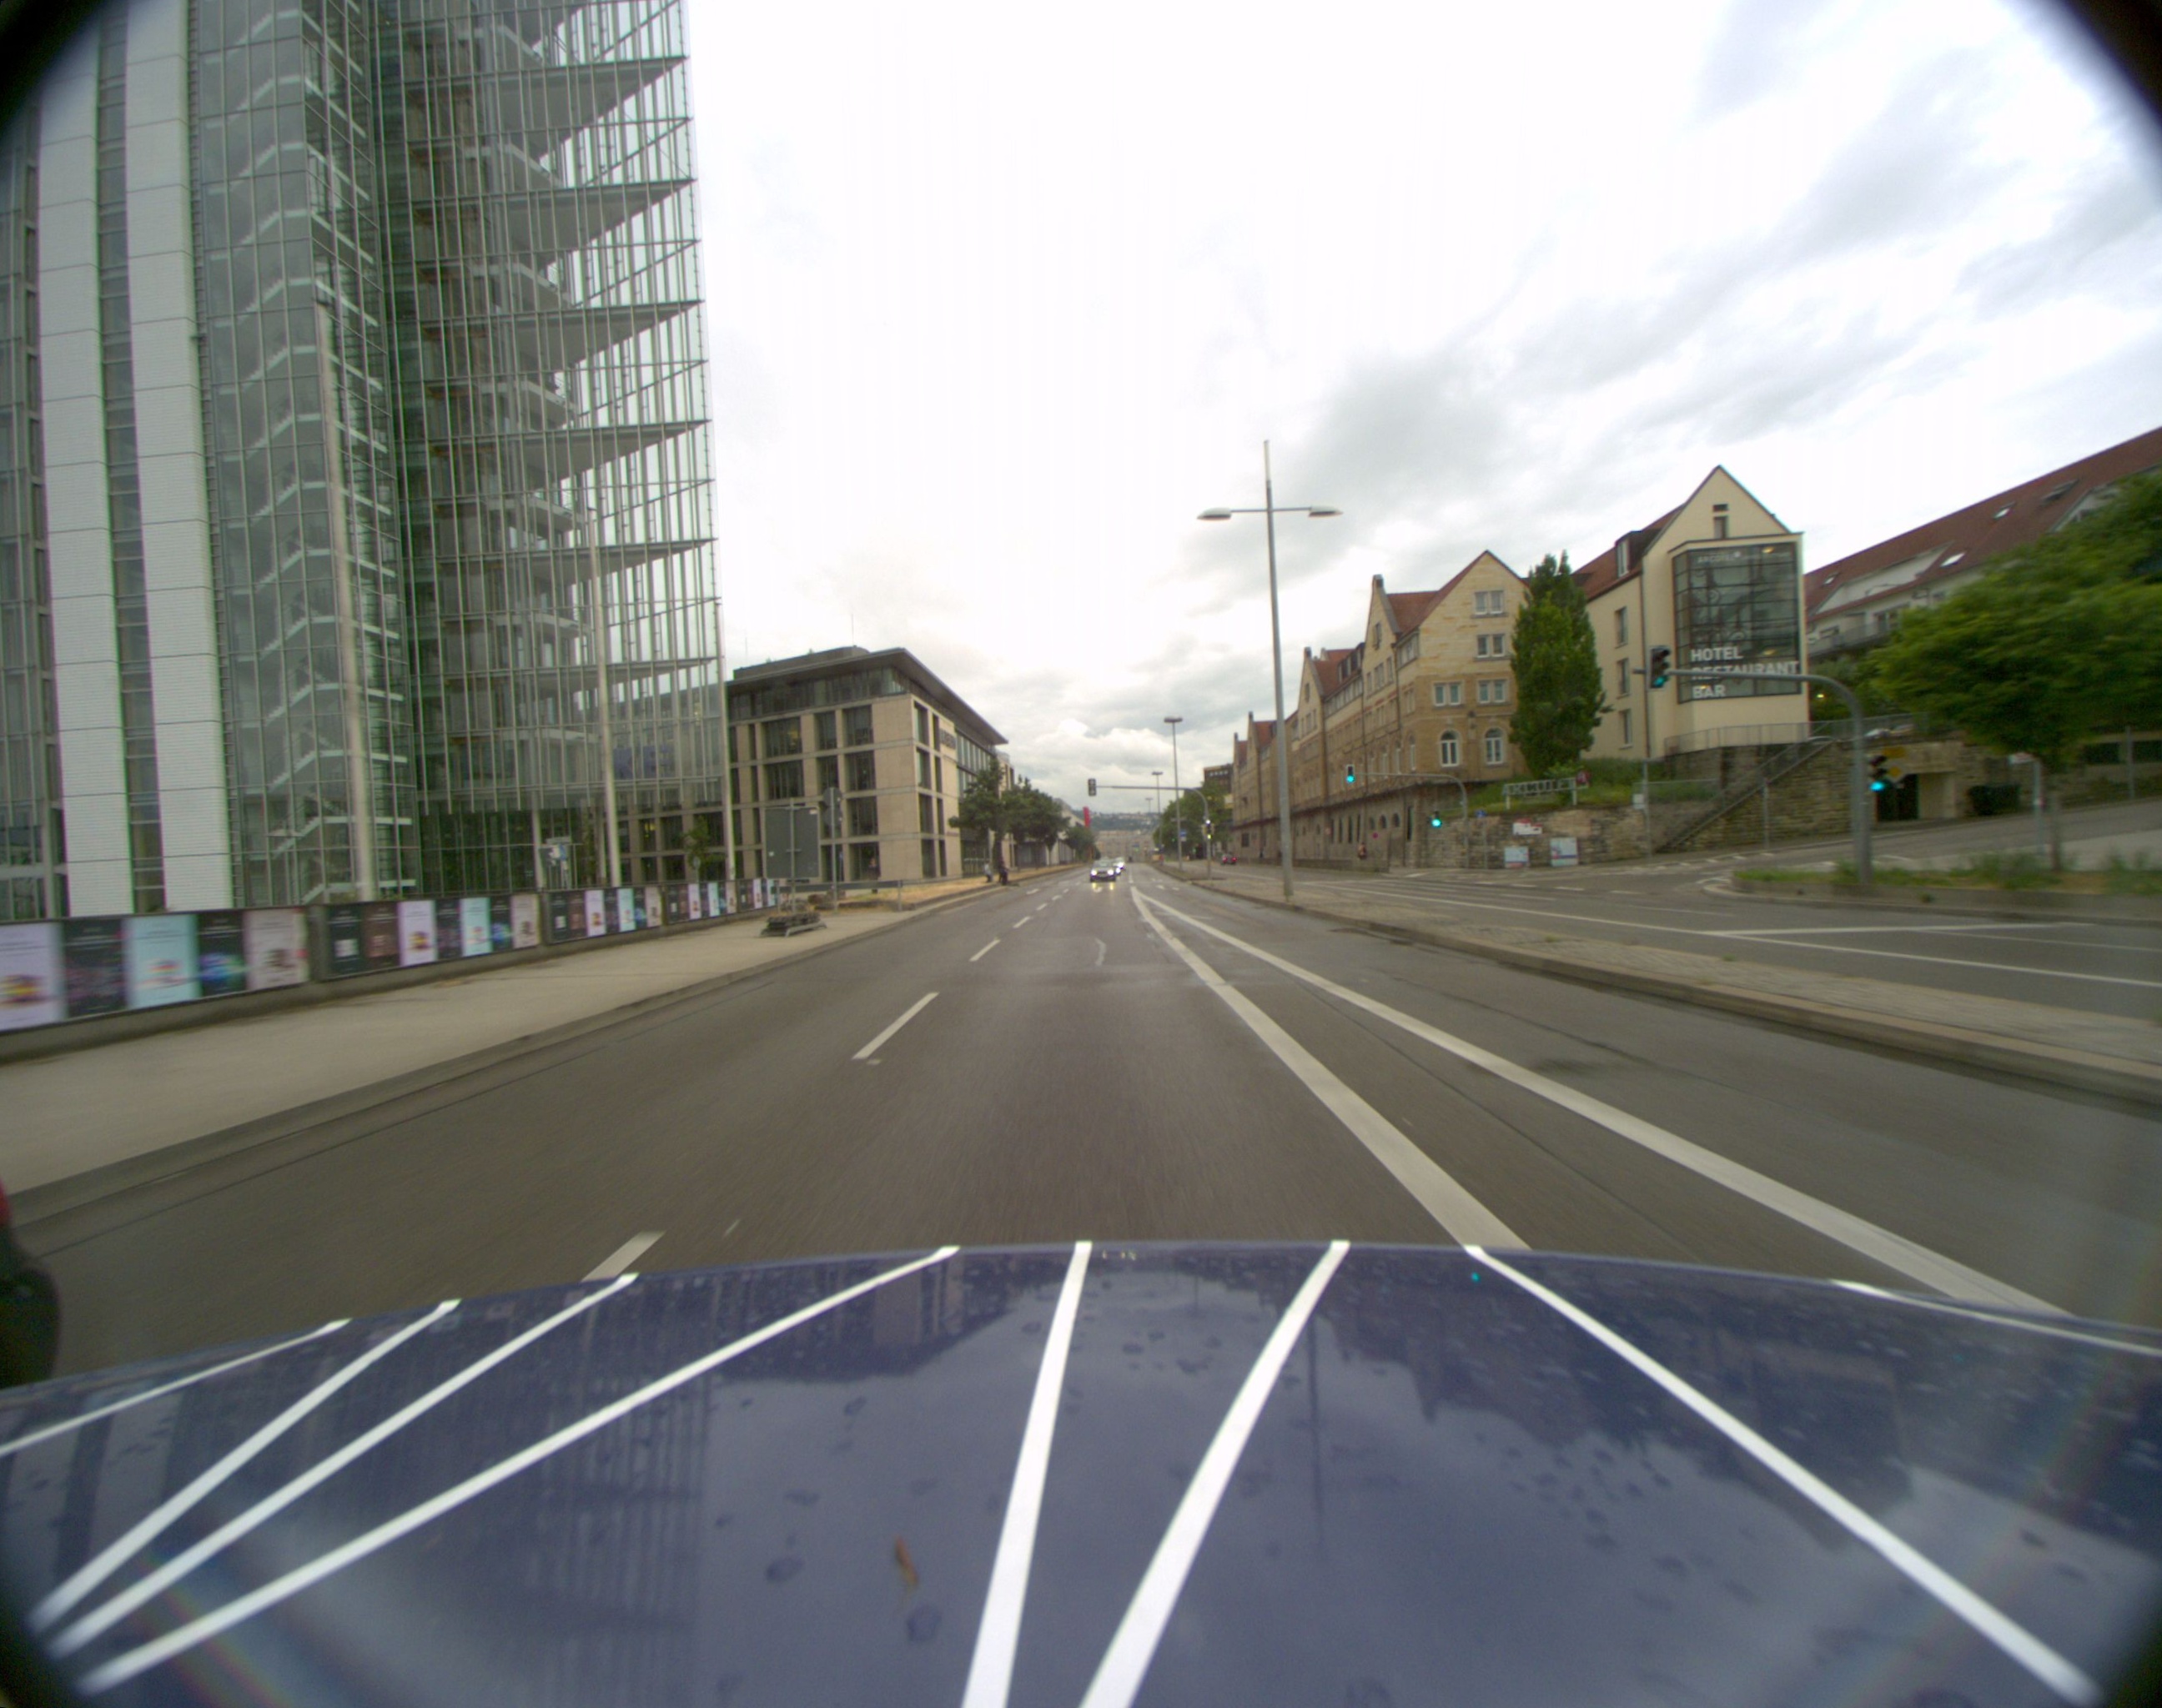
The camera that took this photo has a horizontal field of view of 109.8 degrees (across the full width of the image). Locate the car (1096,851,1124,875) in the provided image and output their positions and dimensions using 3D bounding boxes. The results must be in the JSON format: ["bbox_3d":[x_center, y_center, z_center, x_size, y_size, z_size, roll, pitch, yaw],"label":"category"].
[{"bbox_3d":[2.514,0.759,67.286,1.999,2.002,3.998,-2,1,-4],"label":"car"}]

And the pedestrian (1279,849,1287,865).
[{"bbox_3d":[22.936,0.355,86.226,0.677,1.769,0.684,-2,1,4],"label":"pedestrian"}]

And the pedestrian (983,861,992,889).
[{"bbox_3d":[-5.317,1.188,43.118,0.461,1.590,0.656,-2,1,-7],"label":"pedestrian"}]

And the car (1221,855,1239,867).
[{"bbox_3d":[19.818,0.871,101.025,1.714,1.455,4.001,-3,0,4],"label":"car"}]

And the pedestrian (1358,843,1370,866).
[{"bbox_3d":[21.734,0.018,58.324,0.677,1.769,0.684,-2,1,4],"label":"pedestrian"}]

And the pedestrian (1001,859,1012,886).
[{"bbox_3d":[-4.308,1.055,43.842,0.542,1.519,0.600,-2,1,-6],"label":"pedestrian"}]

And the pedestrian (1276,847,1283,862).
[{"bbox_3d":[24.058,0.031,92.104,0.677,1.769,0.684,-2,1,4],"label":"pedestrian"}]

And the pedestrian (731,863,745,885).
[{"bbox_3d":[-27.644,1.641,61.234,0.634,1.735,0.635,-1,2,24],"label":"pedestrian"}]

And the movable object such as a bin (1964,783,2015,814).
[{"bbox_3d":[42.201,-2.566,35.321,0.826,1.236,1.118,-10,-1,3],"label":"movable object such as a bin"}]

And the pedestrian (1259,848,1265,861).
[{"bbox_3d":[24.819,0.068,104.267,0.677,1.769,0.684,-2,1,4],"label":"pedestrian"}]

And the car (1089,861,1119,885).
[{"bbox_3d":[1.510,1.258,51.276,1.684,1.379,3.474,-2,1,-3],"label":"car"}]

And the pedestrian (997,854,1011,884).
[{"bbox_3d":[-4.554,0.881,44.963,0.728,1.761,0.783,-2,1,-7],"label":"pedestrian"}]

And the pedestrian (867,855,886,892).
[{"bbox_3d":[-9.099,0.867,33.749,0.661,1.601,0.546,-3,0,-21],"label":"pedestrian"}]

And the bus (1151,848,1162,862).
[{"bbox_3d":[19.004,0.286,191.709,2.499,3.318,8.450,-3,-2,4],"label":"bus"}]

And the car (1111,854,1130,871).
[{"bbox_3d":[4.461,0.954,85.979,1.970,1.815,3.929,-3,-1,3],"label":"car"}]
